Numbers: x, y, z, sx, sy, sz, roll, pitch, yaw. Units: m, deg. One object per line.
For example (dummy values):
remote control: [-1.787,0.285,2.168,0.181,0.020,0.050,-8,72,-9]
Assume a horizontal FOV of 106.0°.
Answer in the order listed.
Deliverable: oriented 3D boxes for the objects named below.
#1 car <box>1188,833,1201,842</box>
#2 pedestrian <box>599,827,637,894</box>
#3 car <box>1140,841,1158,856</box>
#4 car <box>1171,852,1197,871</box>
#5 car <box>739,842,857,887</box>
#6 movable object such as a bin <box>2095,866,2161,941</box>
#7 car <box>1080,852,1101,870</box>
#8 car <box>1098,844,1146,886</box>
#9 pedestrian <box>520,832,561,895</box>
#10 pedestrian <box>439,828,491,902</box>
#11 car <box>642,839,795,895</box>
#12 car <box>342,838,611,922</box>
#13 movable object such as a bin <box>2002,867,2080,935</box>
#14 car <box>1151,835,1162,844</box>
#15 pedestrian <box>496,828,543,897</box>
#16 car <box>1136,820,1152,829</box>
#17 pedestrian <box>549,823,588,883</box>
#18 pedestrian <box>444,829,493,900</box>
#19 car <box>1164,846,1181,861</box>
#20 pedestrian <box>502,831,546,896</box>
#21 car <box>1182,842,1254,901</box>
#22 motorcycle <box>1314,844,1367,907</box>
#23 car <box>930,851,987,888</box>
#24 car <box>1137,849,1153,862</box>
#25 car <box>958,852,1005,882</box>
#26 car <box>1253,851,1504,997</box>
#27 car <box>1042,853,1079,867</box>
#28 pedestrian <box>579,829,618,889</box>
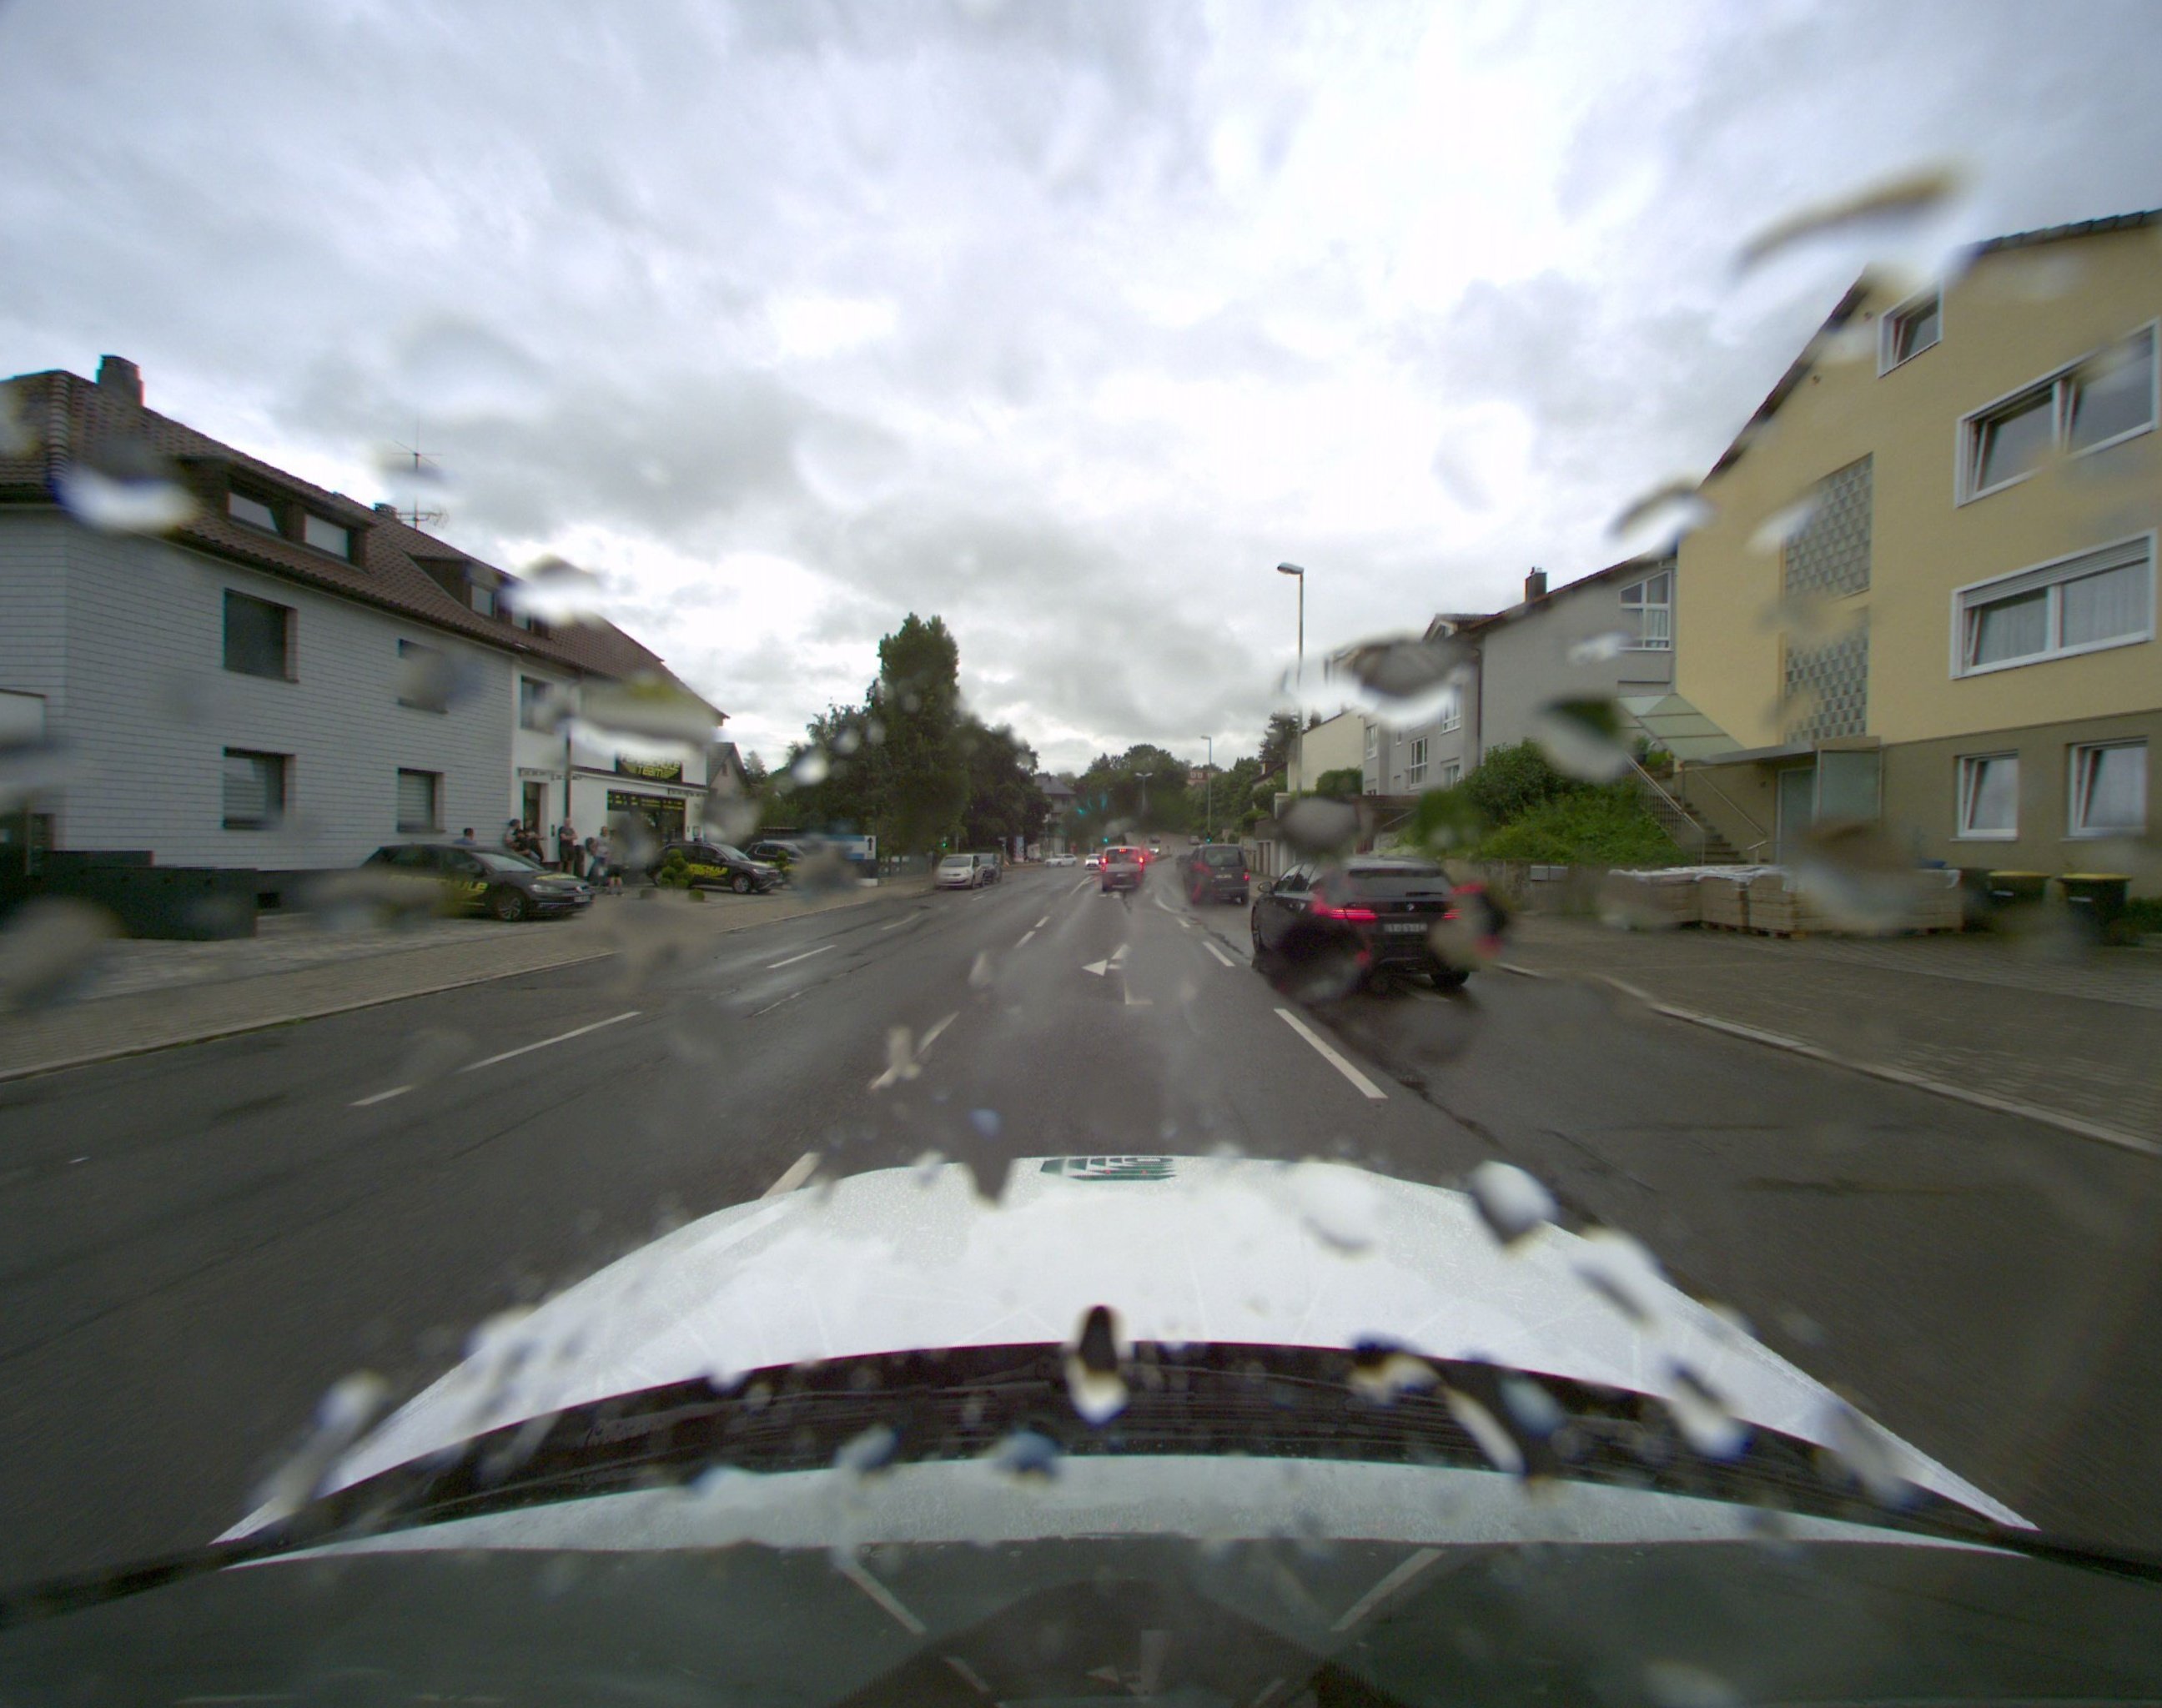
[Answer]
car: [21.311,-3.072,152.964,1.986,1.585,4.002,0,0,2]
pedestrian: [-12.745,0.186,22.439,0.599,1.790,0.649,3,0,-3]
car: [10.416,-0.895,124.867,2.512,2.013,5.613,1,3,2]
car: [9.390,0.658,74.652,1.986,1.578,4.003,-1,0,2]
car: [-11.581,0.422,33.518,4.057,1.516,1.856,4,0,1]
movable object such as a bin: [13.839,0.636,10.648,0.488,0.948,0.542,0,0,1]
car: [0.976,0.683,80.581,1.986,1.772,4.002,0,0,2]
car: [1.771,0.456,35.288,1.985,1.737,4.003,0,0,2]
pedestrian: [-14.824,0.247,22.341,0.597,1.665,0.651,3,0,7]
pedestrian: [-14.296,0.255,18.911,0.597,1.665,0.651,3,0,7]
car: [-11.756,0.407,26.582,4.057,1.516,1.856,4,0,1]
car: [-12.170,0.493,16.591,4.057,1.516,1.856,1,0,1]
movable object such as a bin: [13.830,0.662,11.748,0.488,0.948,0.542,0,0,1]
car: [14.905,-2.888,160.706,1.986,1.585,4.002,0,0,2]
pedestrian: [-13.989,0.217,20.293,0.597,1.665,0.651,3,0,7]
car: [14.882,-6.901,192.290,2.522,2.013,5.590,0,3,-10]
pedestrian: [-14.654,-0.043,23.307,0.597,1.665,0.651,3,0,7]
pedestrian: [-14.851,0.255,19.751,0.597,1.665,0.651,3,0,7]
car: [13.722,-0.116,122.317,2.509,2.013,5.620,1,3,6]
pedestrian: [-14.727,0.257,21.536,0.597,1.665,0.651,3,0,7]
car: [4.360,0.537,26.406,1.831,1.767,4.003,0,0,2]
motorcycle: [6.712,0.529,21.176,0.700,1.509,2.152,-3,0,2]
car: [-5.596,0.677,37.656,1.877,1.585,4.002,0,0,2]
car: [8.733,0.165,111.209,1.986,1.772,4.002,0,0,2]
car: [-5.366,0.684,44.297,1.877,1.585,4.002,0,0,2]
car: [3.457,0.711,10.328,1.984,1.484,4.005,0,0,4]
car: [-2.275,0.680,91.048,1.974,1.547,4.423,0,0,31]
pedestrian: [-13.675,0.136,23.112,0.597,1.665,0.652,3,0,10]
